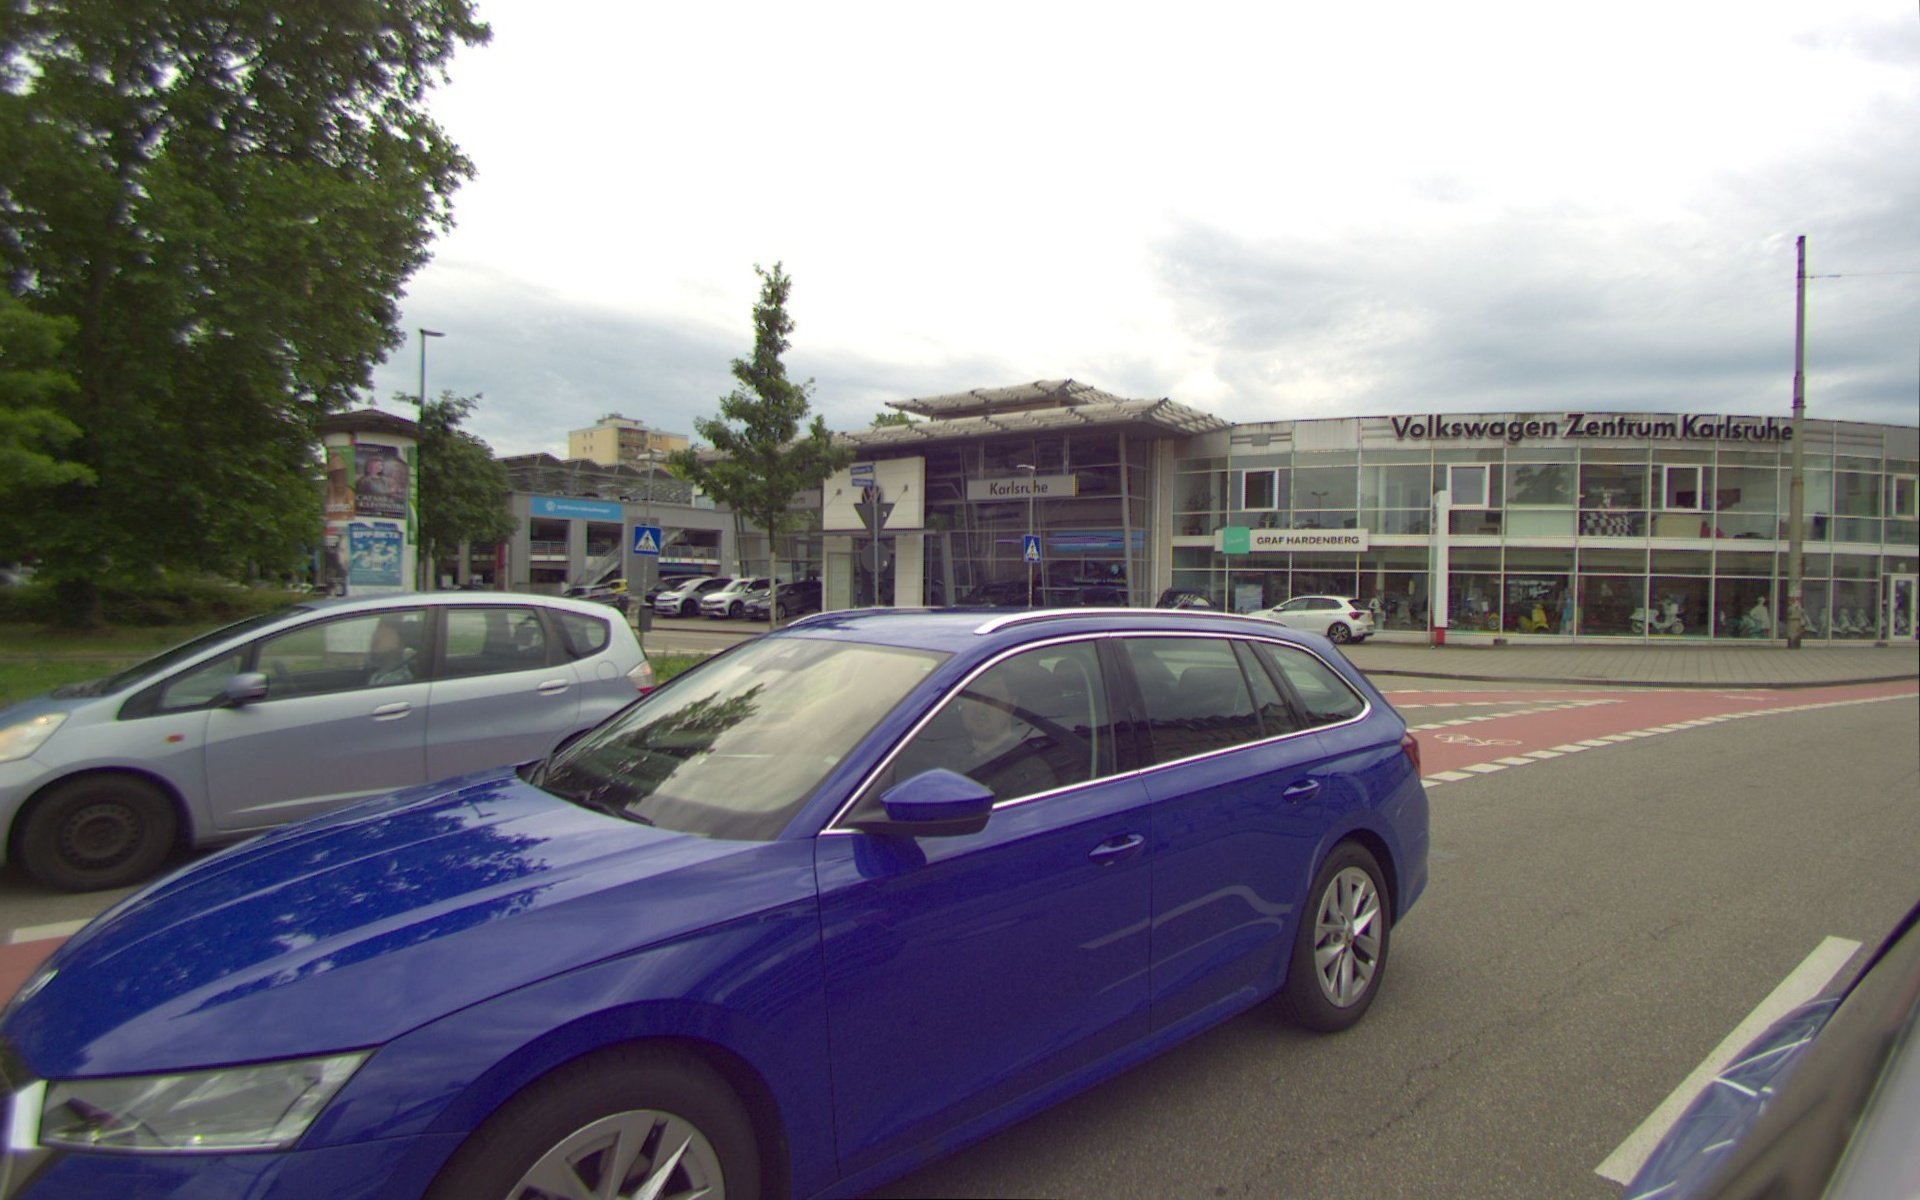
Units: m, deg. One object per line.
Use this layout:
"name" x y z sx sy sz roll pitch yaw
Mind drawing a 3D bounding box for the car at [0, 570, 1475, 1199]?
"car" -0.172 0.686 3.283 4.388 1.507 1.783 0 1 -41

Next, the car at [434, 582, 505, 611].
"car" -29.070 -0.219 59.996 4.446 1.567 1.876 1 2 35

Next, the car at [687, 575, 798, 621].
"car" -9.487 -0.132 44.538 1.850 1.720 4.716 0 4 36

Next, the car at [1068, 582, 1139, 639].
"car" 4.619 0.268 33.064 1.824 1.522 4.340 0 4 2

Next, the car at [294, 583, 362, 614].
"car" -37.147 -0.113 59.451 4.446 1.643 1.838 1 2 35

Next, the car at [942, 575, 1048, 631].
"car" 1.314 0.063 35.876 1.846 1.652 4.463 0 4 31

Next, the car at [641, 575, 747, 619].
"car" -12.067 -0.184 46.134 1.859 1.720 4.419 0 4 37

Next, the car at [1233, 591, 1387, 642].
"car" 10.922 0.470 31.729 4.243 1.471 1.757 1 0 40

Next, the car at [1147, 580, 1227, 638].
"car" 7.274 0.239 32.790 1.867 1.581 4.219 1 3 4

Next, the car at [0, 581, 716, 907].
"car" -3.790 0.649 6.410 4.028 1.485 1.751 0 1 -42

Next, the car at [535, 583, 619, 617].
"car" -18.724 -0.011 49.441 3.988 1.583 1.896 0 1 35

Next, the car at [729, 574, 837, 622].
"car" -7.404 -0.111 42.792 1.886 1.717 4.421 0 4 36
